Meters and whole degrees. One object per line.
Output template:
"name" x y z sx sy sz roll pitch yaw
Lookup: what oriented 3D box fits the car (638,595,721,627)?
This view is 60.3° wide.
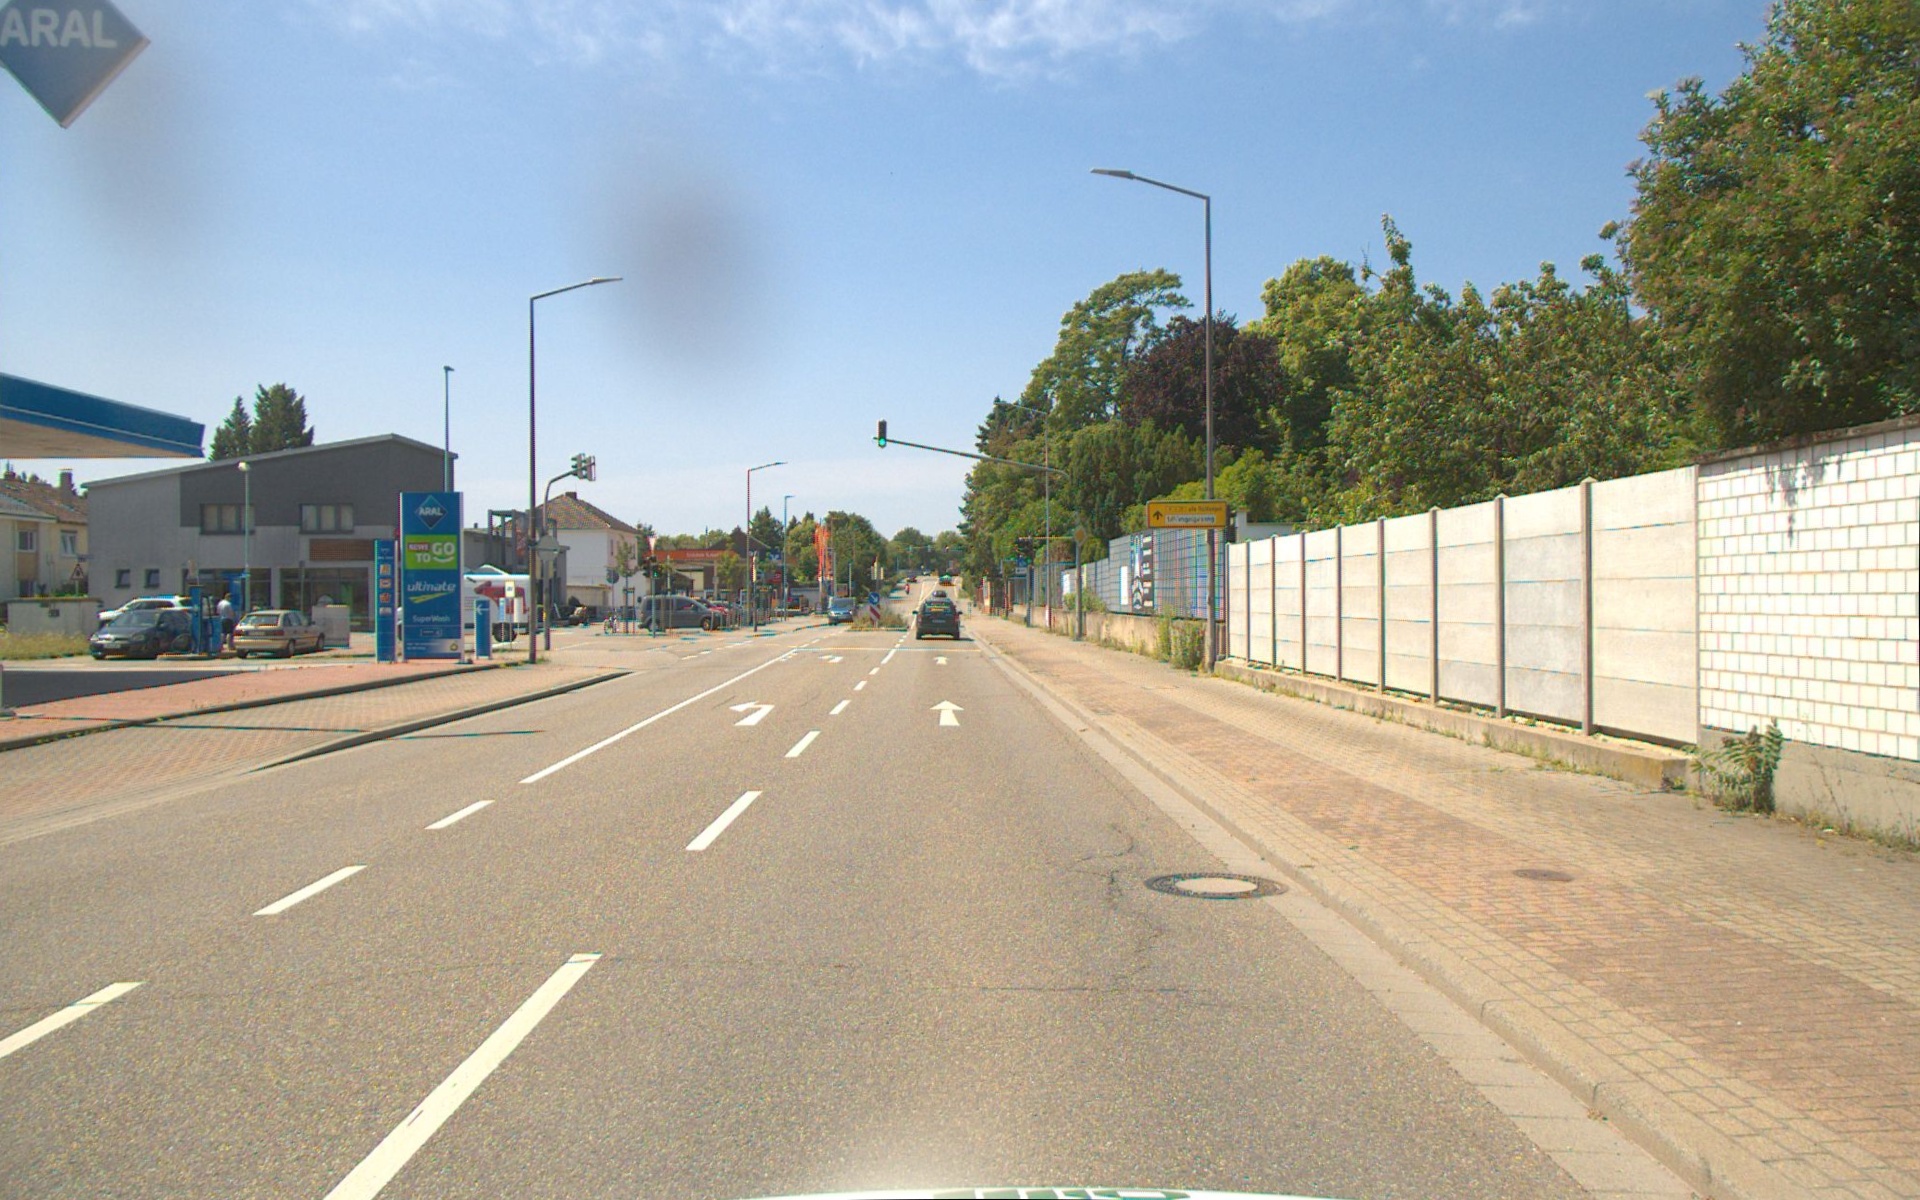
"car" -13.923 0.519 82.197 3.909 1.534 1.553 -1 0 -5

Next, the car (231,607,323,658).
"car" -21.217 0.991 51.527 1.586 1.445 3.707 -2 0 -6

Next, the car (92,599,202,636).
"car" -34.798 0.732 70.881 3.909 1.534 1.553 -1 0 -5

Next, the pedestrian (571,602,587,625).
"pedestrian" -22.027 0.784 95.653 0.600 1.283 0.755 -1 0 25

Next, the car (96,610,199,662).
"car" -24.877 1.075 50.776 1.586 1.445 3.707 -2 0 -6

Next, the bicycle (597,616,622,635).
"bicycle" -15.447 1.108 72.932 0.600 0.807 2.574 0 0 -1

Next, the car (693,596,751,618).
"car" -16.857 0.508 117.284 3.909 1.534 1.553 -1 0 -5

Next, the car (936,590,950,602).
"car" -2.103 -0.511 201.290 1.632 1.481 3.471 0 0 -1

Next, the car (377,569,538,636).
"car" -19.662 0.134 64.984 5.824 2.465 1.993 1 -2 -13

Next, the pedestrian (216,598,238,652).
"pedestrian" -23.240 0.786 52.416 0.603 1.721 0.703 0 0 -27

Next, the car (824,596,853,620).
"car" -7.344 0.496 100.079 1.554 1.418 3.471 0 0 -1

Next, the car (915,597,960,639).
"car" -0.848 0.655 62.155 1.632 1.481 3.471 0 0 -1

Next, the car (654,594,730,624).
"car" -14.533 0.479 89.792 3.909 1.534 1.553 -1 0 -5
